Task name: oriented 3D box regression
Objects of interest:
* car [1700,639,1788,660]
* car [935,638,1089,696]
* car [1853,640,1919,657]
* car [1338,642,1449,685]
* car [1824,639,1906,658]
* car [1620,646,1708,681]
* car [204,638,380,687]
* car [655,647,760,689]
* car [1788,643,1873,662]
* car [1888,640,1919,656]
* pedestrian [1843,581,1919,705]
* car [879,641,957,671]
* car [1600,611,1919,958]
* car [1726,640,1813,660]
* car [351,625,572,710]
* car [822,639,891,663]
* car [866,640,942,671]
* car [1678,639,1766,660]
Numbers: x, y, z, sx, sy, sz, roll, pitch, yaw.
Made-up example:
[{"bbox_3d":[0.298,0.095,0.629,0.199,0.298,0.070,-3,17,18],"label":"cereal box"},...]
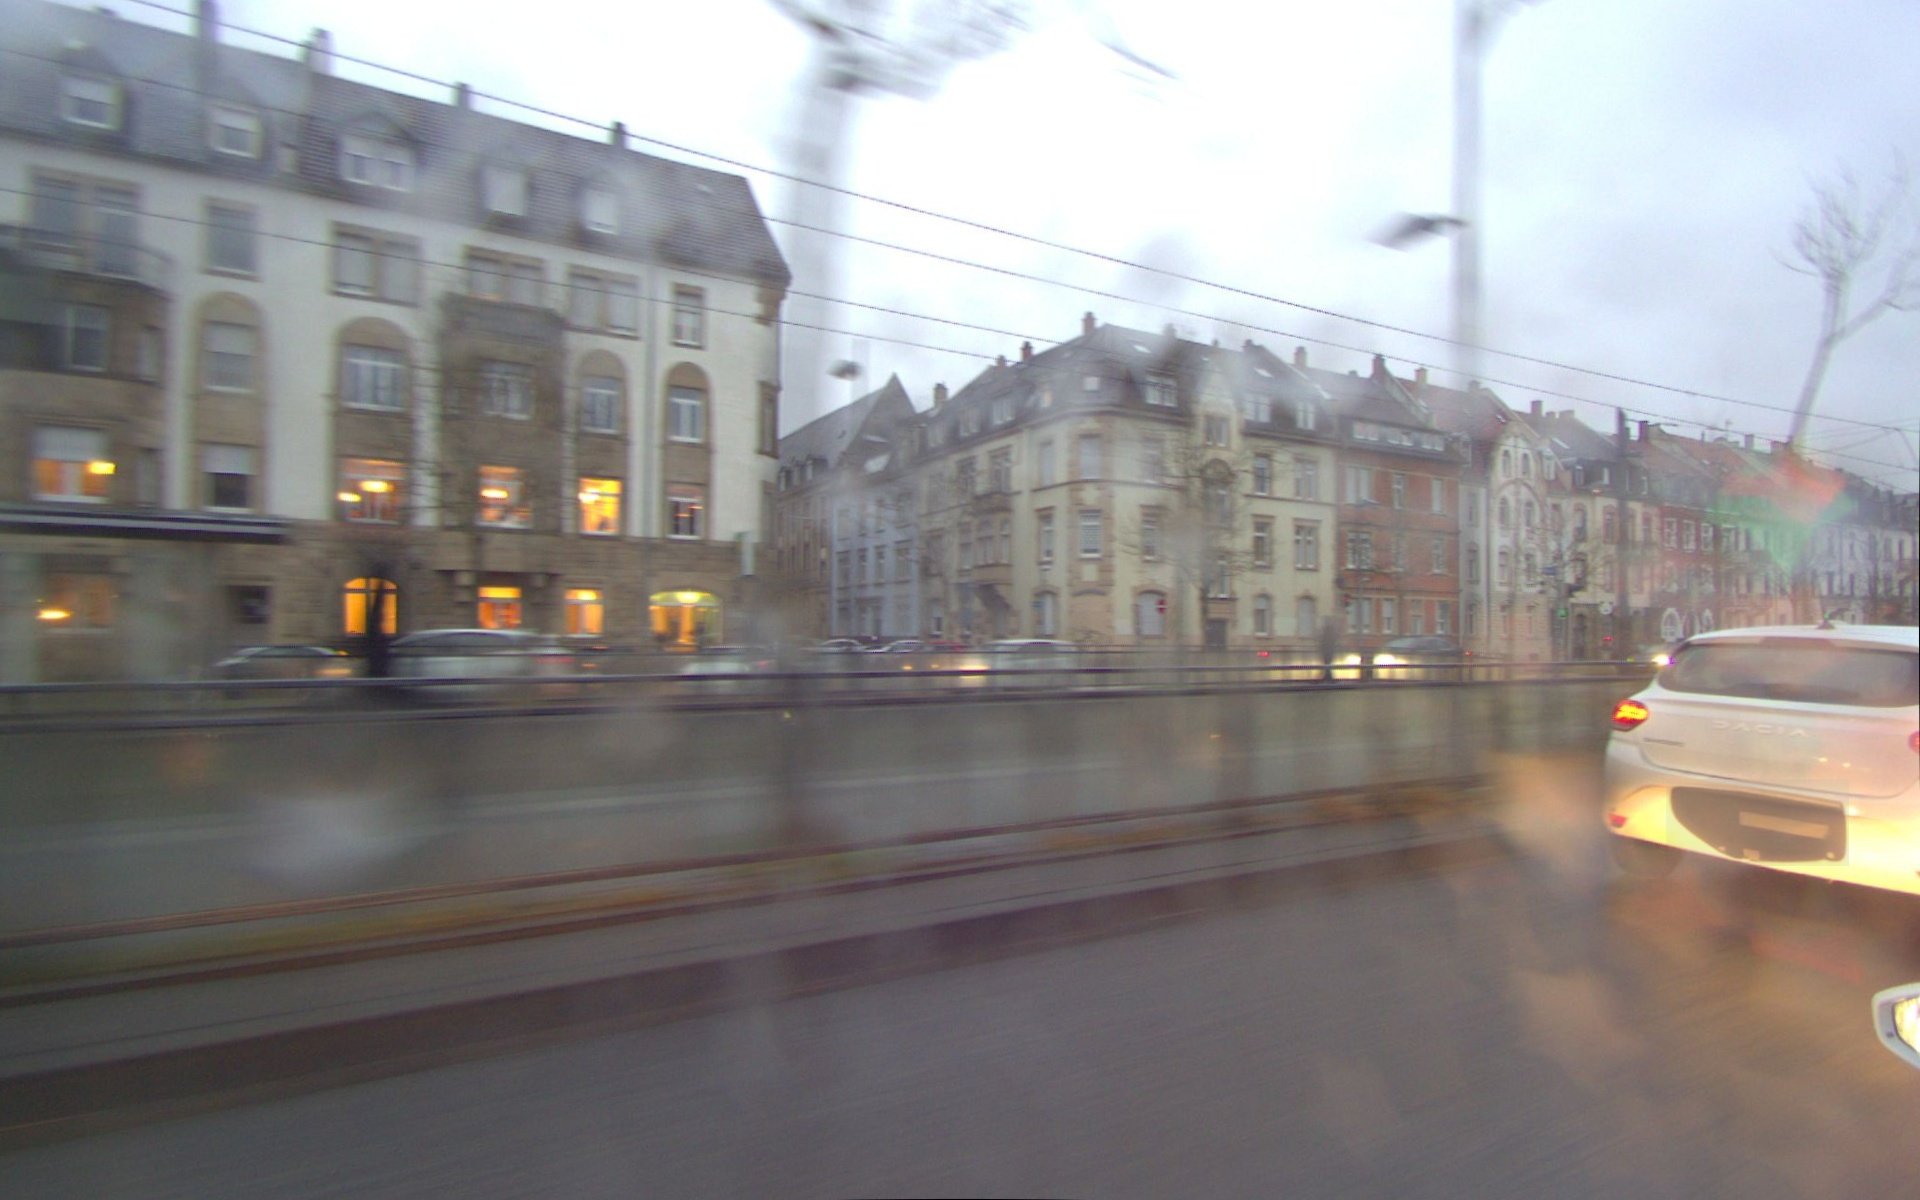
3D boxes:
[{"bbox_3d":[46.286,2.921,59.358,1.627,1.171,3.765,1,-3,-24],"label":"car"},{"bbox_3d":[1.368,1.712,26.163,3.723,1.416,1.646,1,-3,-30],"label":"car"},{"bbox_3d":[65.843,3.396,71.002,1.627,1.171,3.765,1,-3,-24],"label":"car"},{"bbox_3d":[15.013,2.178,34.782,3.723,1.416,1.646,1,-3,-30],"label":"car"},{"bbox_3d":[60.448,3.244,67.166,1.627,1.171,3.765,1,-3,-24],"label":"car"},{"bbox_3d":[30.078,2.693,42.895,3.723,1.416,1.646,1,-3,-30],"label":"car"},{"bbox_3d":[-15.872,1.467,24.081,3.378,1.084,1.646,1,-3,-30],"label":"car"},{"bbox_3d":[-6.945,1.849,27.956,1.551,1.084,3.421,-1,-3,10],"label":"car"},{"bbox_3d":[55.272,3.341,63.828,1.627,1.171,3.765,1,-3,-24],"label":"car"},{"bbox_3d":[69.186,3.411,71.863,1.627,1.171,3.765,1,-3,-24],"label":"car"},{"bbox_3d":[12.173,0.560,13.168,0.661,1.573,0.695,1,-3,-30],"label":"pedestrian"},{"bbox_3d":[-2.143,2.859,51.258,3.922,1.486,2.000,0,-3,-2],"label":"car"},{"bbox_3d":[5.598,0.848,5.836,3.955,1.506,1.618,1,-2,-32],"label":"car"},{"bbox_3d":[48.818,3.016,60.657,1.627,1.171,3.765,1,-3,-24],"label":"car"},{"bbox_3d":[-9.711,1.285,19.681,3.723,1.509,1.646,1,-3,-30],"label":"car"},{"bbox_3d":[-6.301,3.126,61.320,3.920,1.438,2.001,0,-3,2],"label":"car"},{"bbox_3d":[-3.049,2.970,54.089,3.927,1.617,1.998,0,-3,-9],"label":"car"},{"bbox_3d":[43.980,2.855,58.065,1.627,1.171,3.765,1,-3,-24],"label":"car"}]
